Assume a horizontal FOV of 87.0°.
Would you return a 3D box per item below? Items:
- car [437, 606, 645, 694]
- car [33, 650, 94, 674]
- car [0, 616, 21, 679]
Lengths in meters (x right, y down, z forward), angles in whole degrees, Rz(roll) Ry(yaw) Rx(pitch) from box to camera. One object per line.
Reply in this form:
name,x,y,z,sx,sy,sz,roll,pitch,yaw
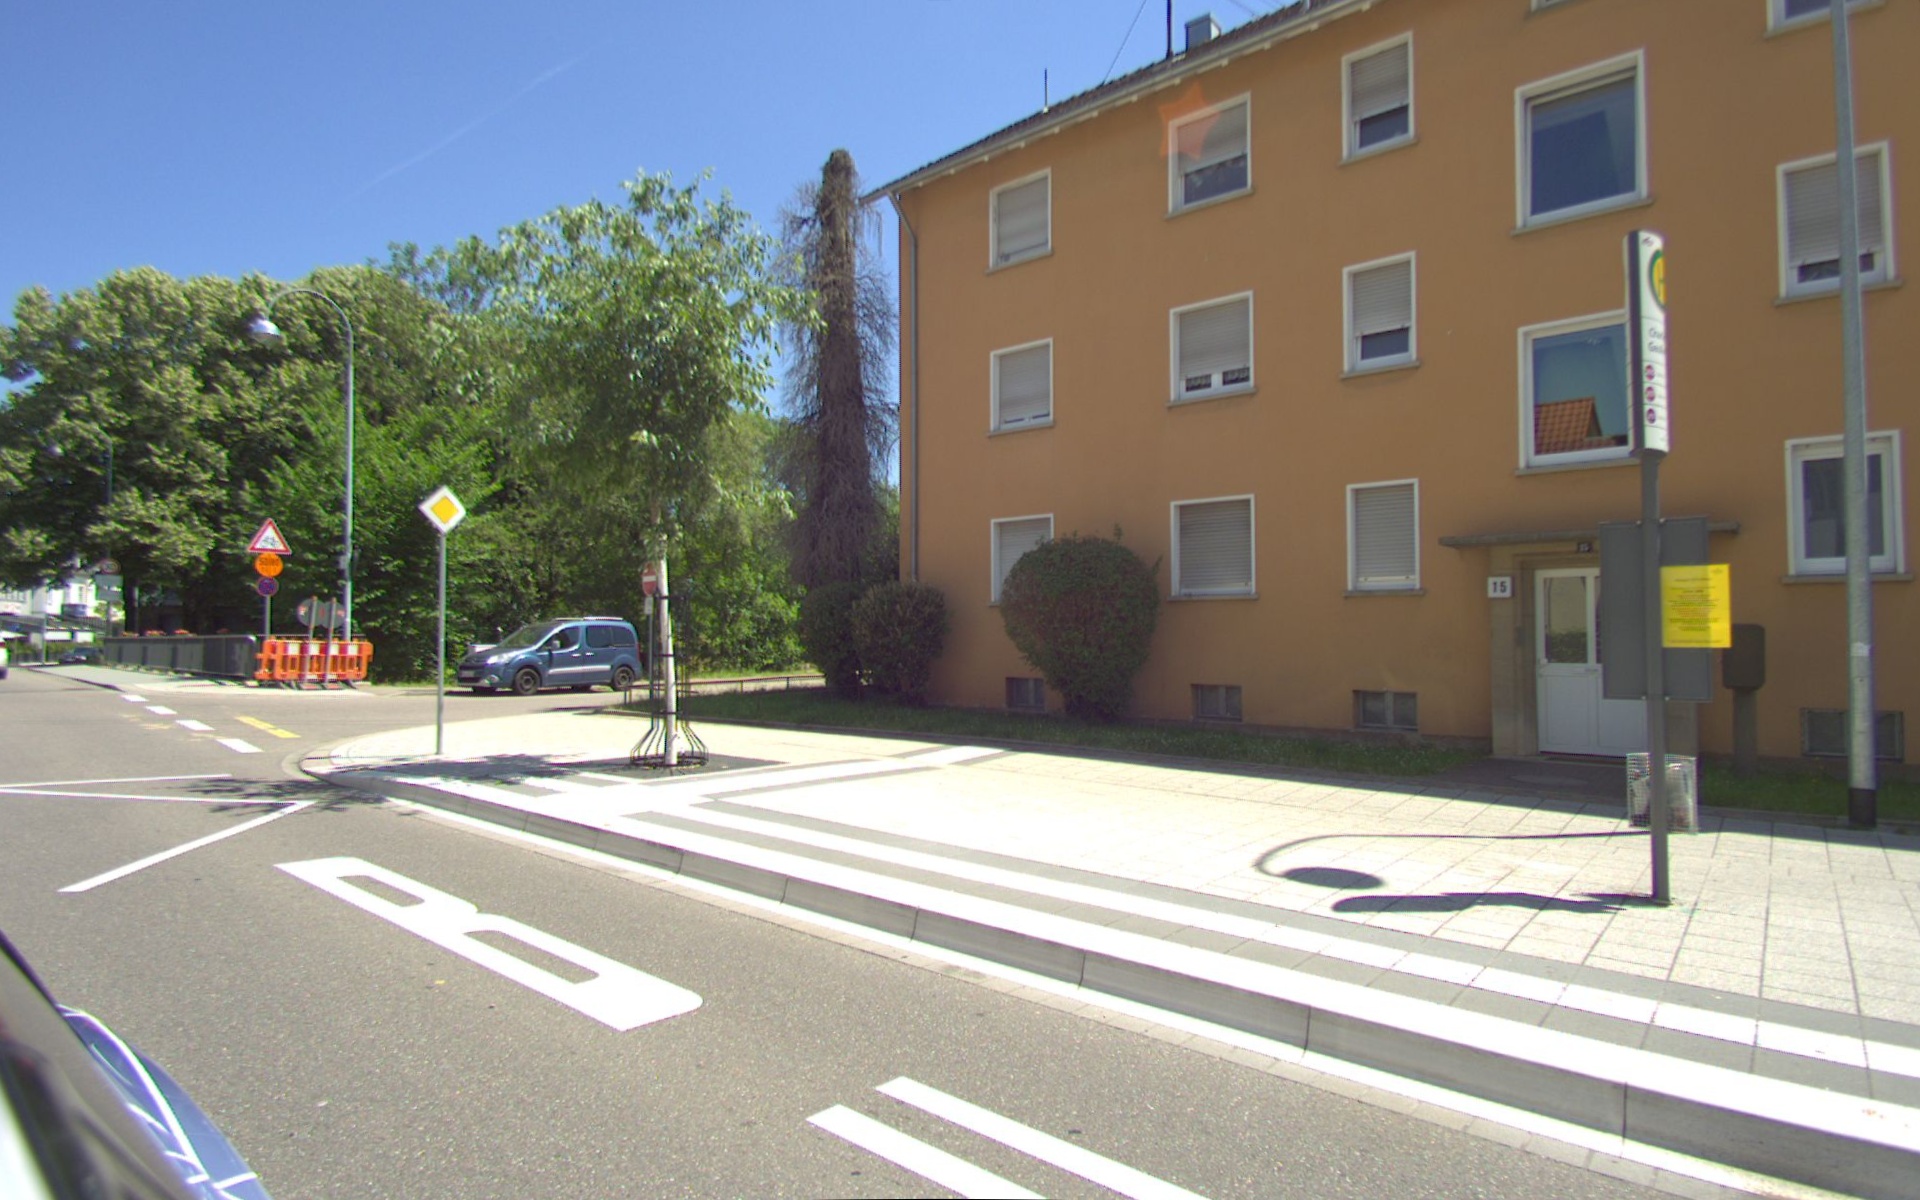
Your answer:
car,-9.832,1.234,24.130,1.812,1.888,4.392,-3,-4,30
car,-68.240,4.724,77.061,3.976,1.729,1.983,-2,-5,25
car,-25.264,1.201,25.522,4.287,1.518,1.972,-2,-3,42
